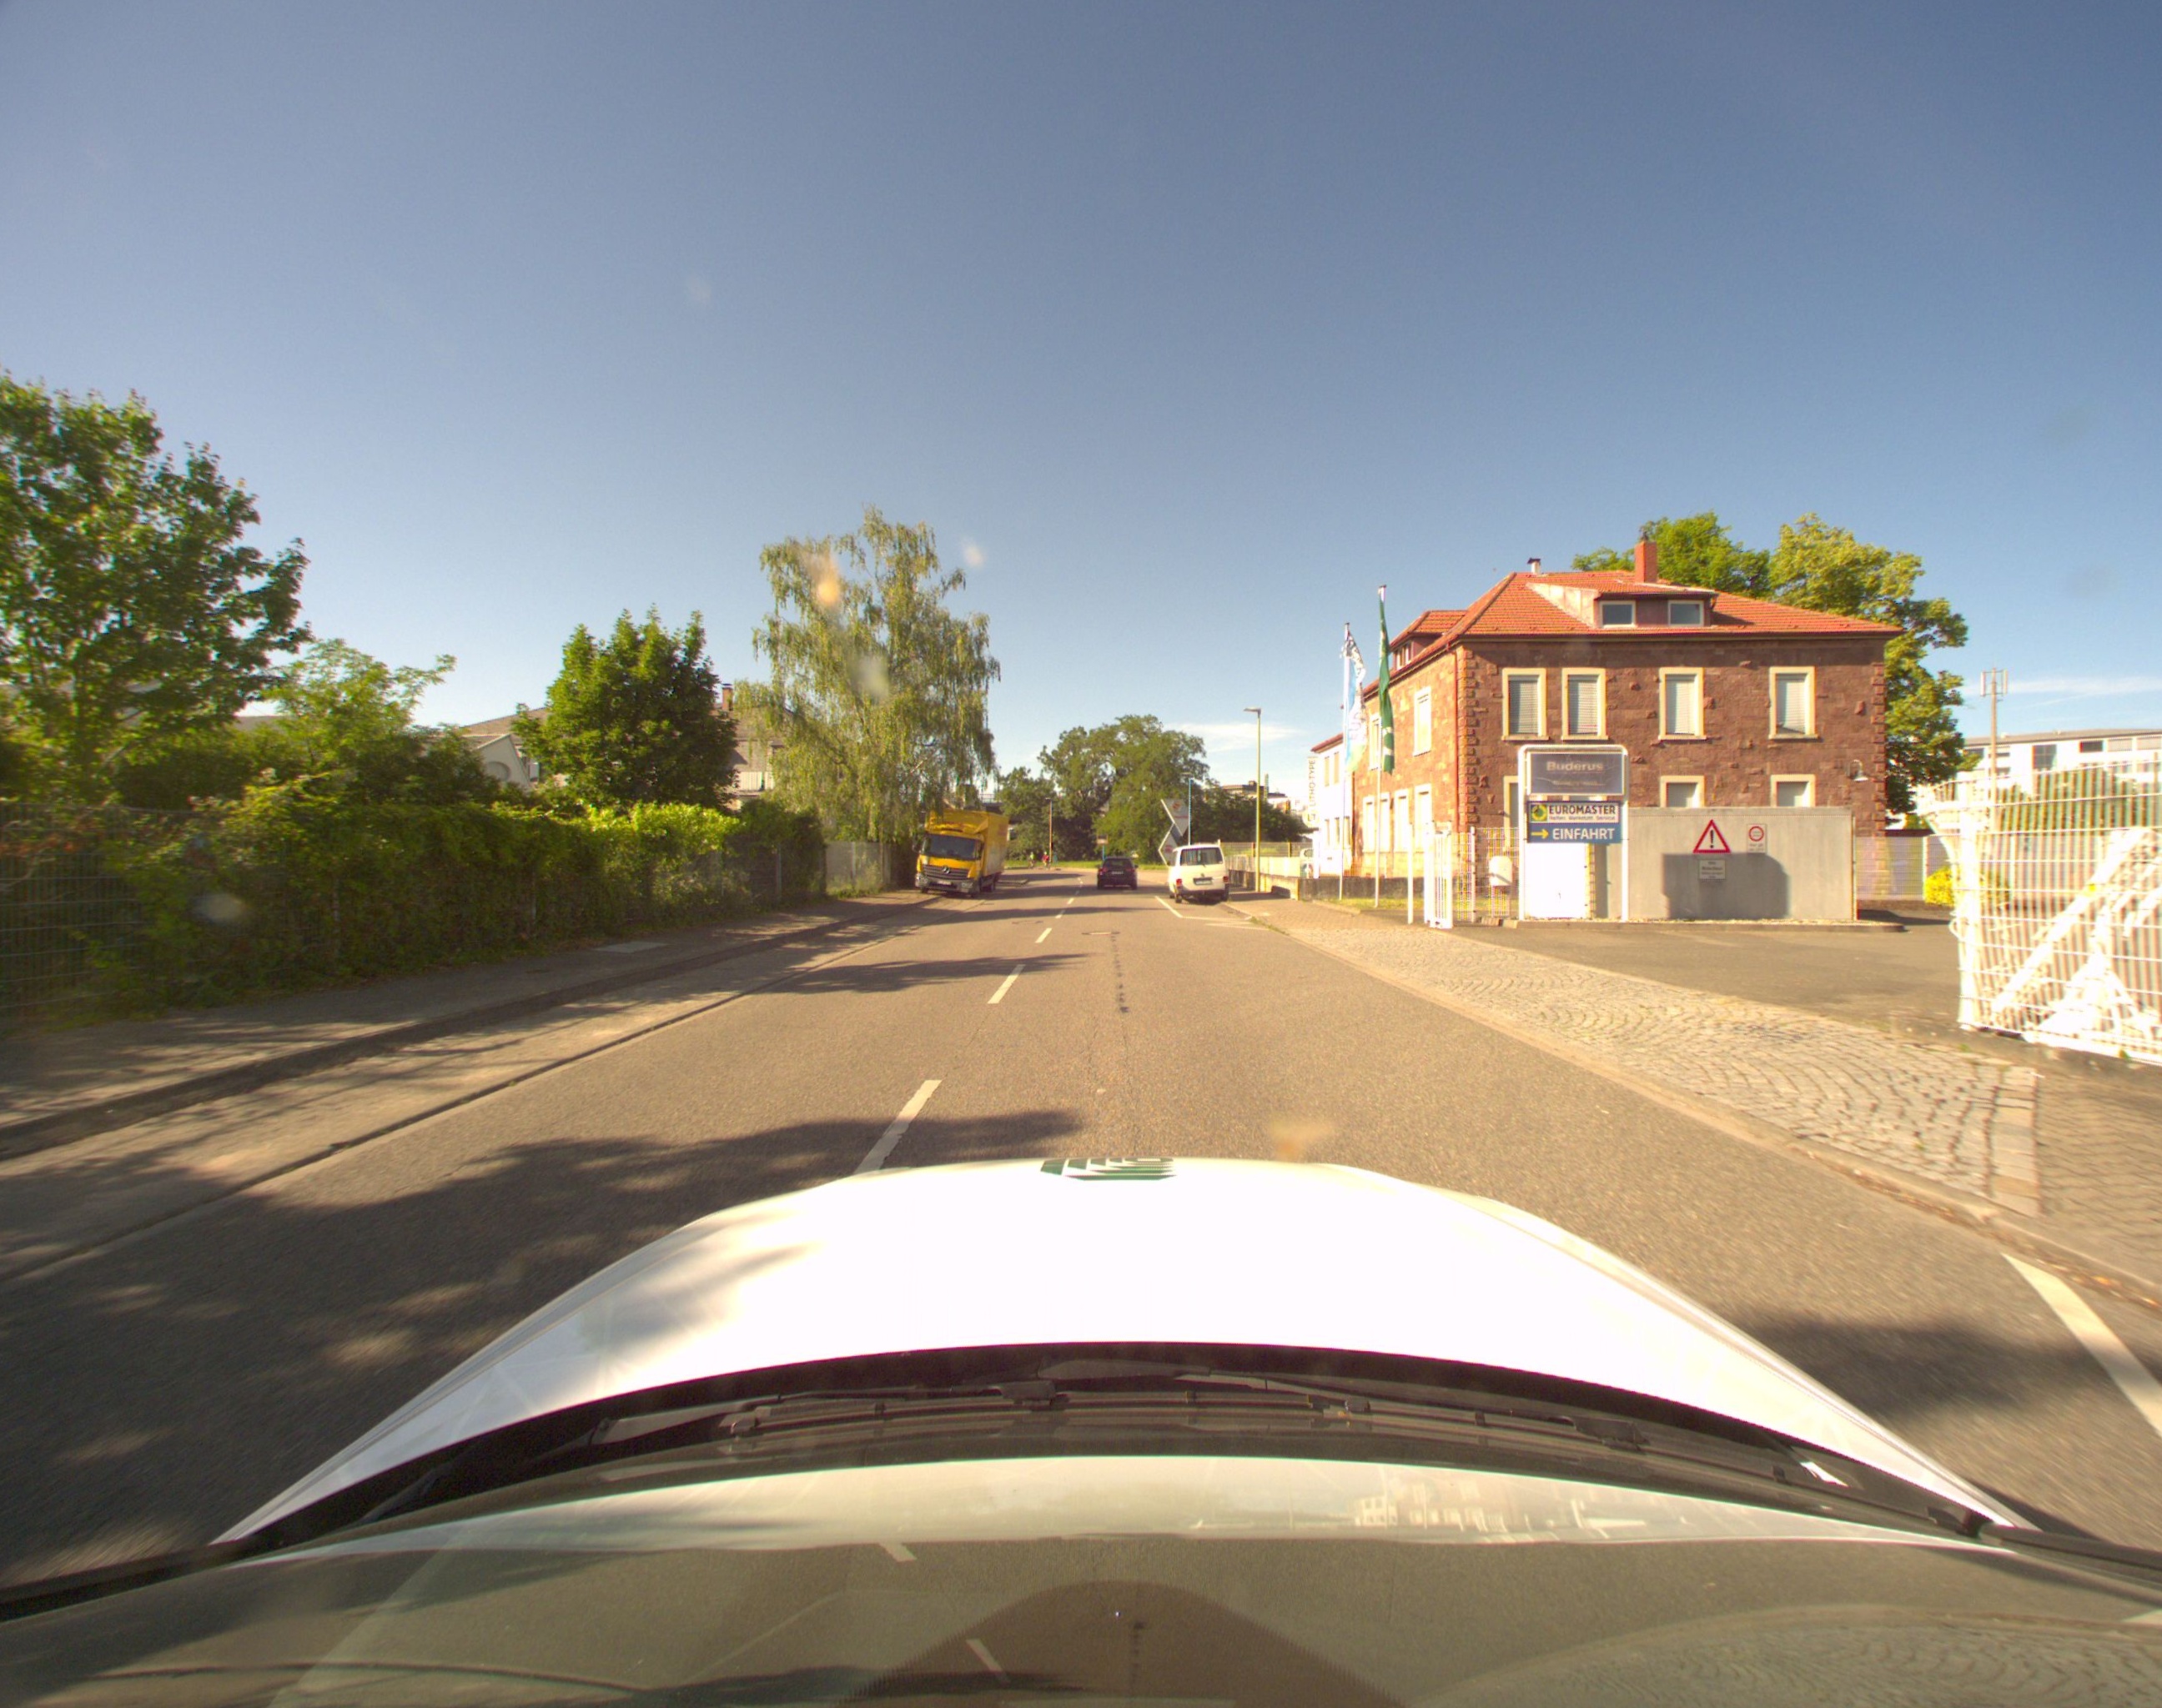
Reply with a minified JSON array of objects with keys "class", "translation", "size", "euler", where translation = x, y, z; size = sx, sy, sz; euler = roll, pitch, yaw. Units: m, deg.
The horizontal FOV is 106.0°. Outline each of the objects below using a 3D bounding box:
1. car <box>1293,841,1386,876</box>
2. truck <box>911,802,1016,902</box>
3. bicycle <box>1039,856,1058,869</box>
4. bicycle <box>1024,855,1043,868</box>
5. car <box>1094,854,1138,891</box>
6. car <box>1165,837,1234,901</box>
[{"class":"car","translation":[15.649,0.264,49.538],"size":[1.890,2.013,5.099],"euler":[-1,0,-41]},{"class":"truck","translation":[-4.755,-0.175,34.818],"size":[2.621,3.504,8.662],"euler":[5,1,2]},{"class":"bicycle","translation":[-3.192,0.827,79.095],"size":[0.809,1.268,2.235],"euler":[1,0,-33]},{"class":"bicycle","translation":[-4.784,0.751,82.600],"size":[0.810,1.221,2.233],"euler":[1,0,-38]},{"class":"car","translation":[1.604,0.790,36.979],"size":[1.840,1.530,4.003],"euler":[-1,0,3]},{"class":"car","translation":[4.033,0.489,28.508],"size":[1.867,2.014,5.163],"euler":[1,0,2]}]
